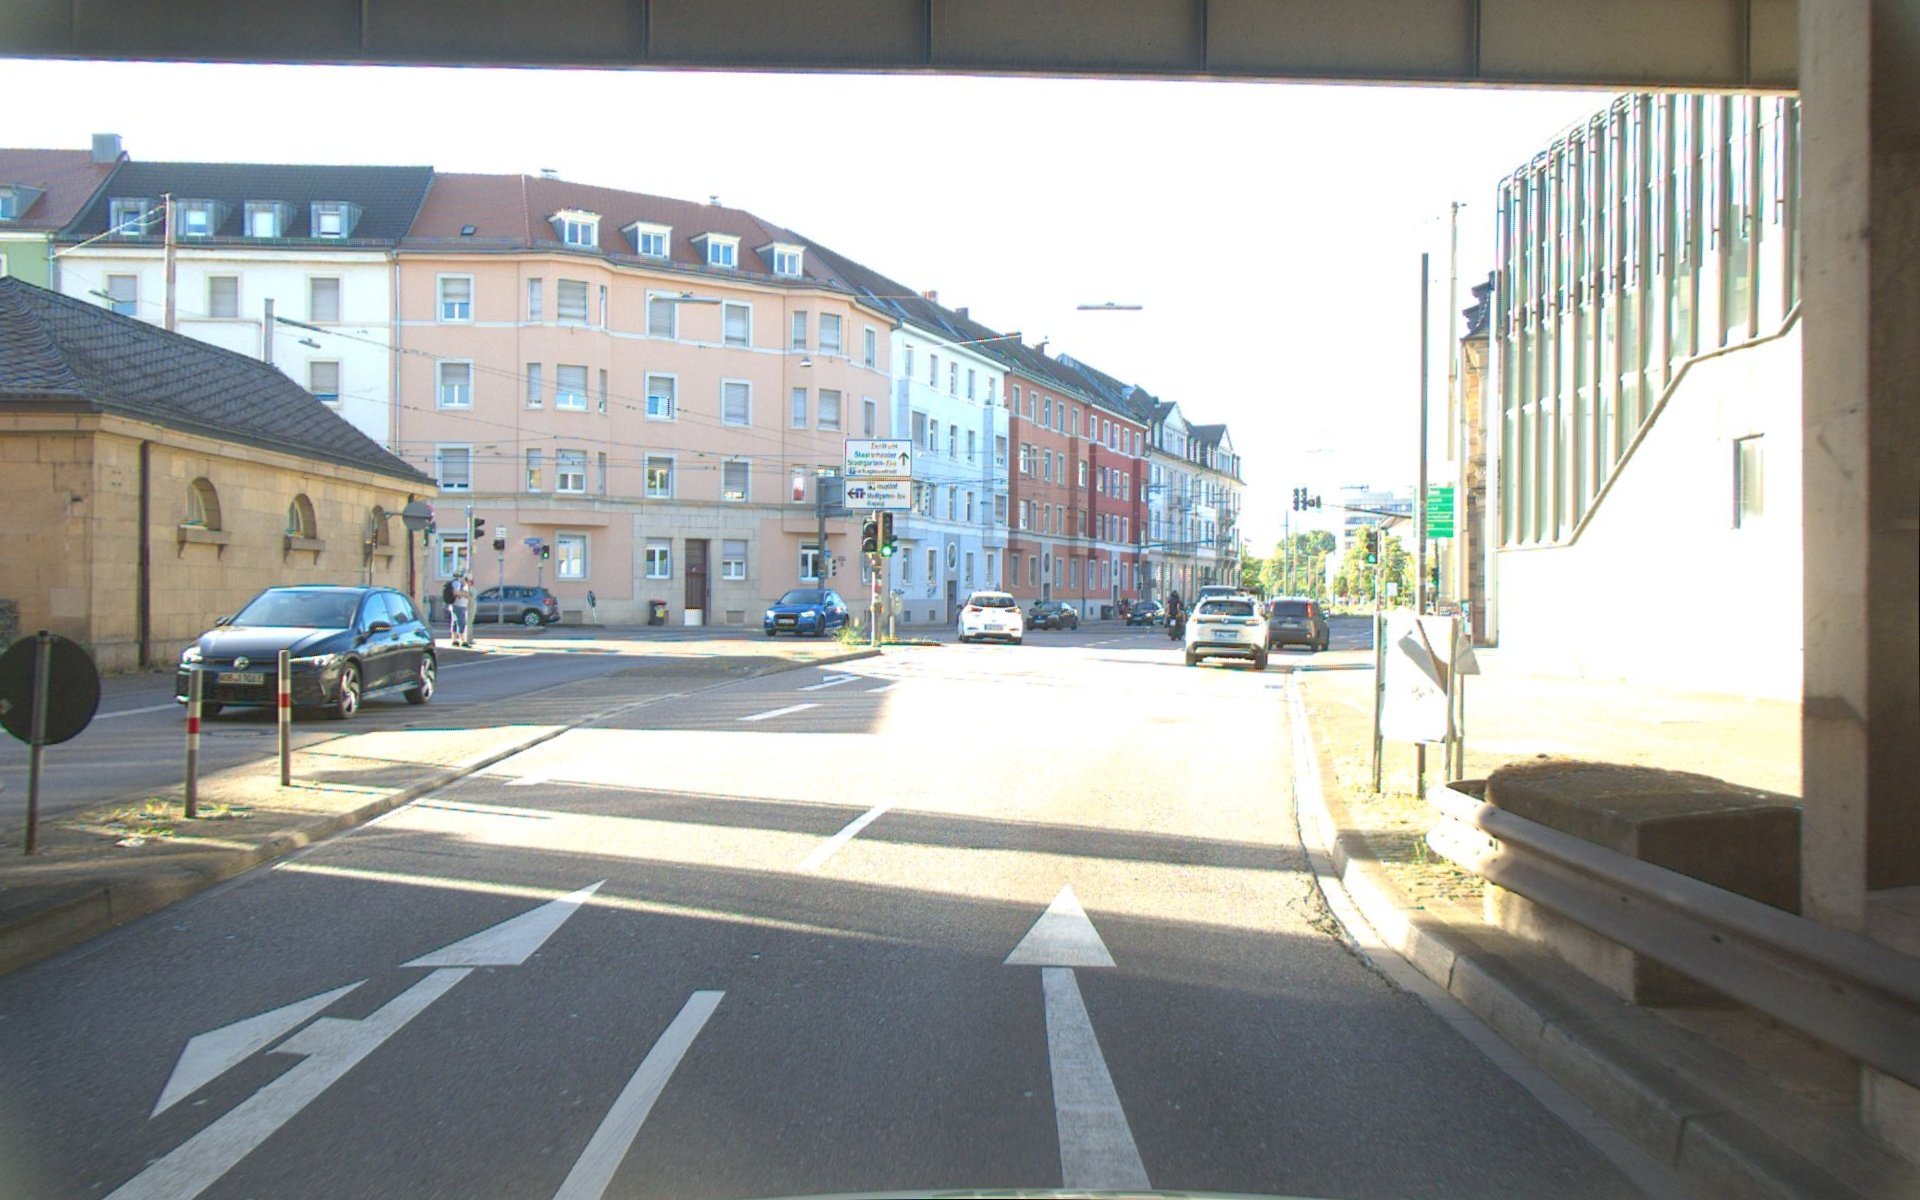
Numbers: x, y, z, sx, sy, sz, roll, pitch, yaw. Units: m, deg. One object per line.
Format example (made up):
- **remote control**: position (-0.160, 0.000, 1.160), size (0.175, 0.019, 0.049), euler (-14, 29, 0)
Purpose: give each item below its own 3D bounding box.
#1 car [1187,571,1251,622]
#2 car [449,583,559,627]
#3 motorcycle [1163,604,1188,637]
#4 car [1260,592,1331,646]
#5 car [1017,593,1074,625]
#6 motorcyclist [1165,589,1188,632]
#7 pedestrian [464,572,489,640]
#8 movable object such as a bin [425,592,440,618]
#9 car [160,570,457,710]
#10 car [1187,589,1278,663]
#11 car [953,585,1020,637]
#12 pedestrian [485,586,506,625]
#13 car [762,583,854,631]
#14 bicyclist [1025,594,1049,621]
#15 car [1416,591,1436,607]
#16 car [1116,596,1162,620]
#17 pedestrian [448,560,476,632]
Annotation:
- **car**: position (10.743, -0.136, 68.410), size (2.126, 2.044, 4.811), euler (0, 0, 15)
- **car**: position (-17.356, 0.172, 63.133), size (3.795, 1.601, 1.927), euler (1, 0, -8)
- **motorcycle**: position (7.430, 0.701, 56.931), size (0.760, 1.101, 2.283), euler (0, 0, 9)
- **car**: position (10.175, 0.551, 49.965), size (1.694, 1.527, 4.002), euler (1, 1, 17)
- **car**: position (4.211, 0.420, 80.571), size (1.785, 1.450, 4.330), euler (1, 0, 17)
- **motorcyclist**: position (7.440, 0.360, 56.856), size (0.760, 1.448, 0.892), euler (0, 0, 9)
- **pedestrian**: position (-12.126, 0.150, 41.481), size (0.482, 1.668, 0.620), euler (1, 0, -28)
- **movable object such as a bin**: position (-21.286, 0.206, 66.766), size (0.440, 1.050, 0.482), euler (1, 0, -1)
- **car**: position (-7.464, 0.396, 19.454), size (1.716, 1.429, 4.415), euler (1, 1, 0)
- **car**: position (6.095, 0.537, 37.283), size (1.906, 1.555, 4.093), euler (1, 1, 8)
- **car**: position (0.737, 0.300, 48.197), size (1.750, 1.418, 4.104), euler (0, 0, -2)
- **pedestrian**: position (-18.704, 0.217, 66.625), size (0.704, 1.591, 0.676), euler (0, 0, -9)
- **car**: position (-4.666, 0.197, 51.386), size (1.772, 1.415, 4.251), euler (1, 1, 10)
- **bicyclist**: position (4.064, 0.388, 87.620), size (0.915, 1.406, 1.147), euler (1, 0, 24)
- **car**: position (51.912, -0.105, 184.263), size (1.952, 1.691, 4.499), euler (1, 1, 18)
- **car**: position (11.075, 0.472, 101.988), size (1.952, 1.416, 4.564), euler (1, 0, 18)
- **pedestrian**: position (-11.721, -0.088, 38.925), size (0.507, 1.668, 0.620), euler (1, 0, -28)
